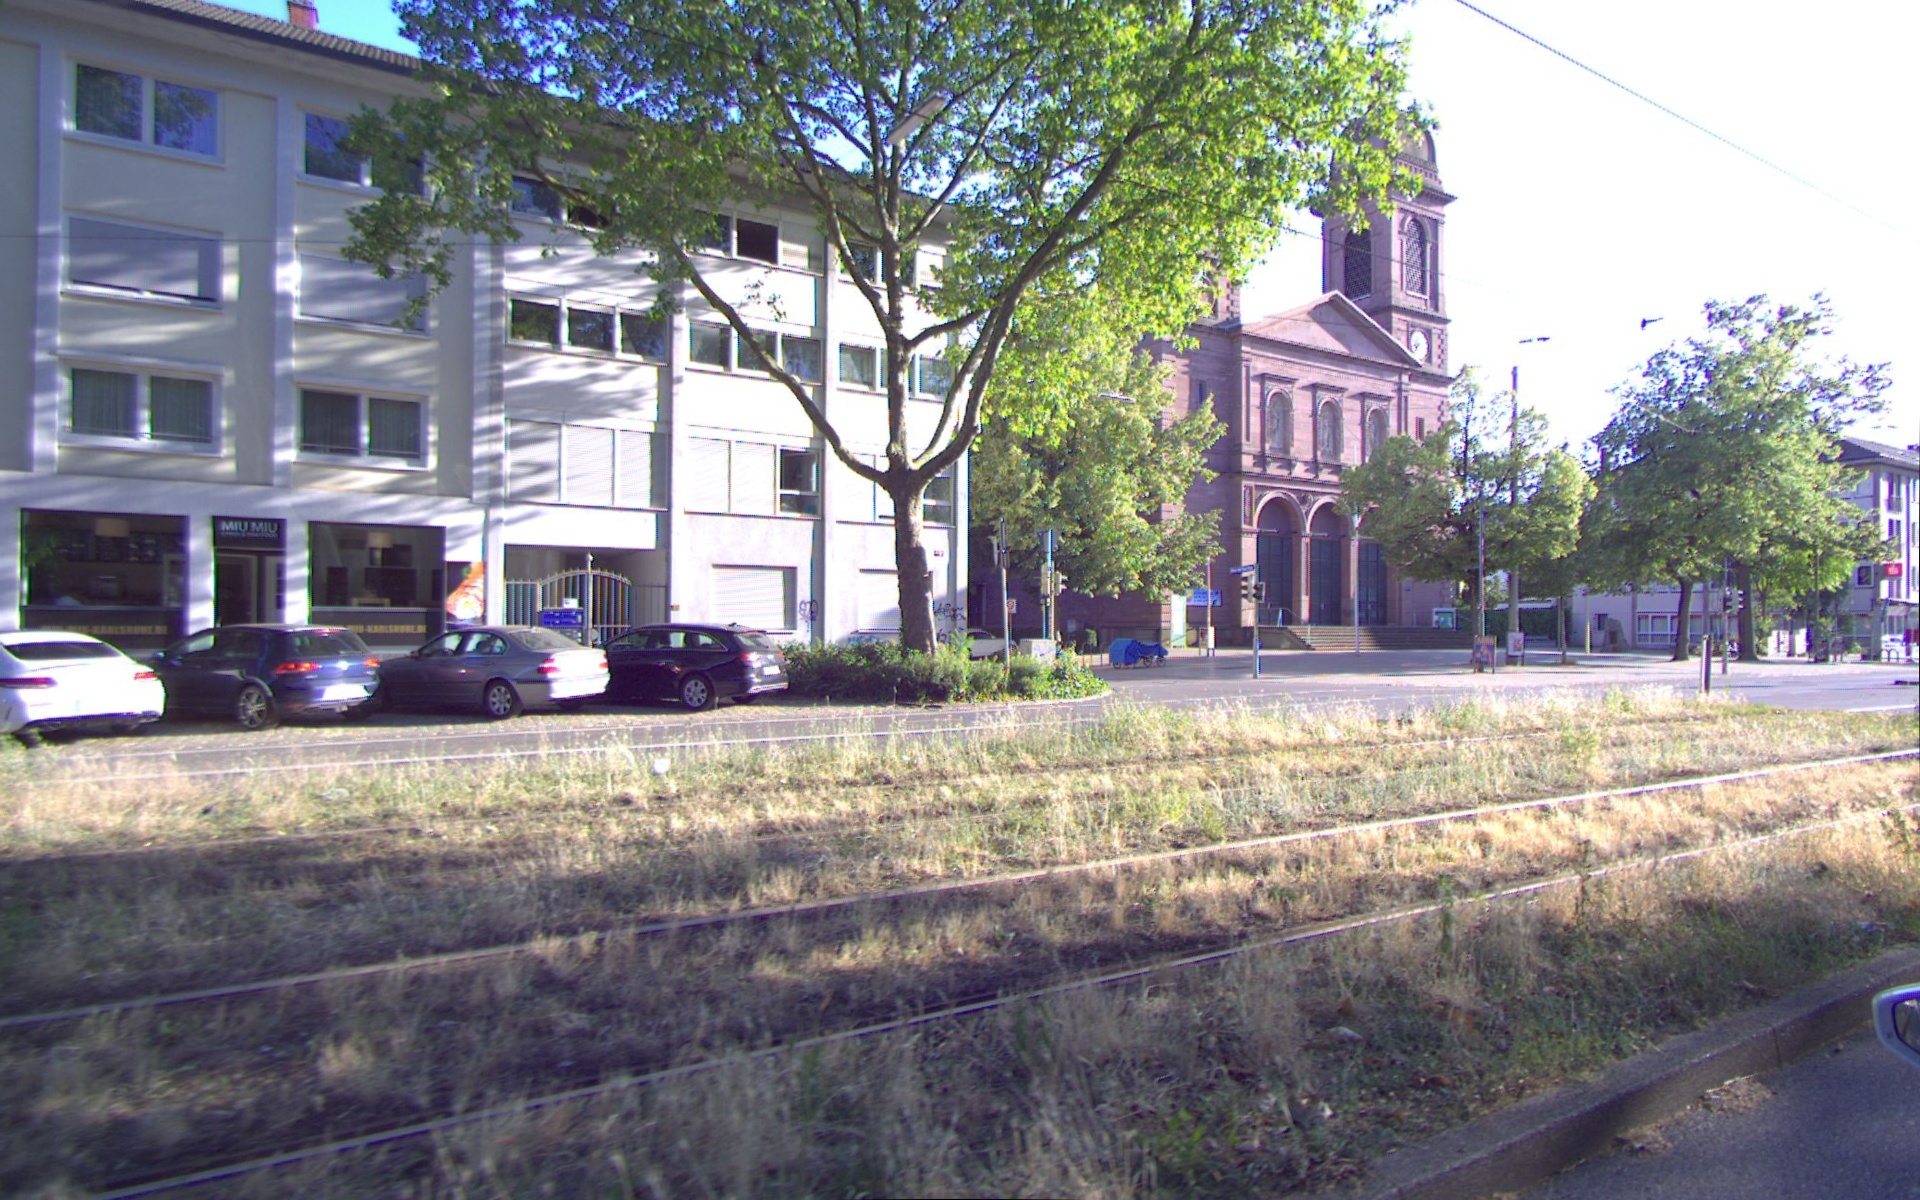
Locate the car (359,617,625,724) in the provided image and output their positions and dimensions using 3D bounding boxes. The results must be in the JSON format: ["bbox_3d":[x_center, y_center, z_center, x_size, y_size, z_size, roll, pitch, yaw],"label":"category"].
[{"bbox_3d":[-7.768,1.100,16.703,3.921,1.460,1.722,2,1,20],"label":"car"}]

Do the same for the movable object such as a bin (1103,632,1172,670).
[{"bbox_3d":[6.732,1.910,38.096,2.416,1.228,1.102,-3,3,-29],"label":"movable object such as a bin"}]

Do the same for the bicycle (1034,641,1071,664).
[{"bbox_3d":[3.886,2.220,42.391,1.517,0.904,0.465,1,1,-26],"label":"bicycle"}]

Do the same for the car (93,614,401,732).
[{"bbox_3d":[-10.776,1.020,15.240,3.920,1.460,1.802,2,1,18],"label":"car"}]

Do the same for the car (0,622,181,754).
[{"bbox_3d":[-12.511,1.055,13.321,4.125,1.351,1.721,2,1,25],"label":"car"}]

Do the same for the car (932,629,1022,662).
[{"bbox_3d":[0.820,2.202,49.297,3.952,1.479,1.984,1,1,-30],"label":"car"}]

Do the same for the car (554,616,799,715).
[{"bbox_3d":[-5.139,1.123,18.310,3.920,1.499,1.818,2,1,18],"label":"car"}]
